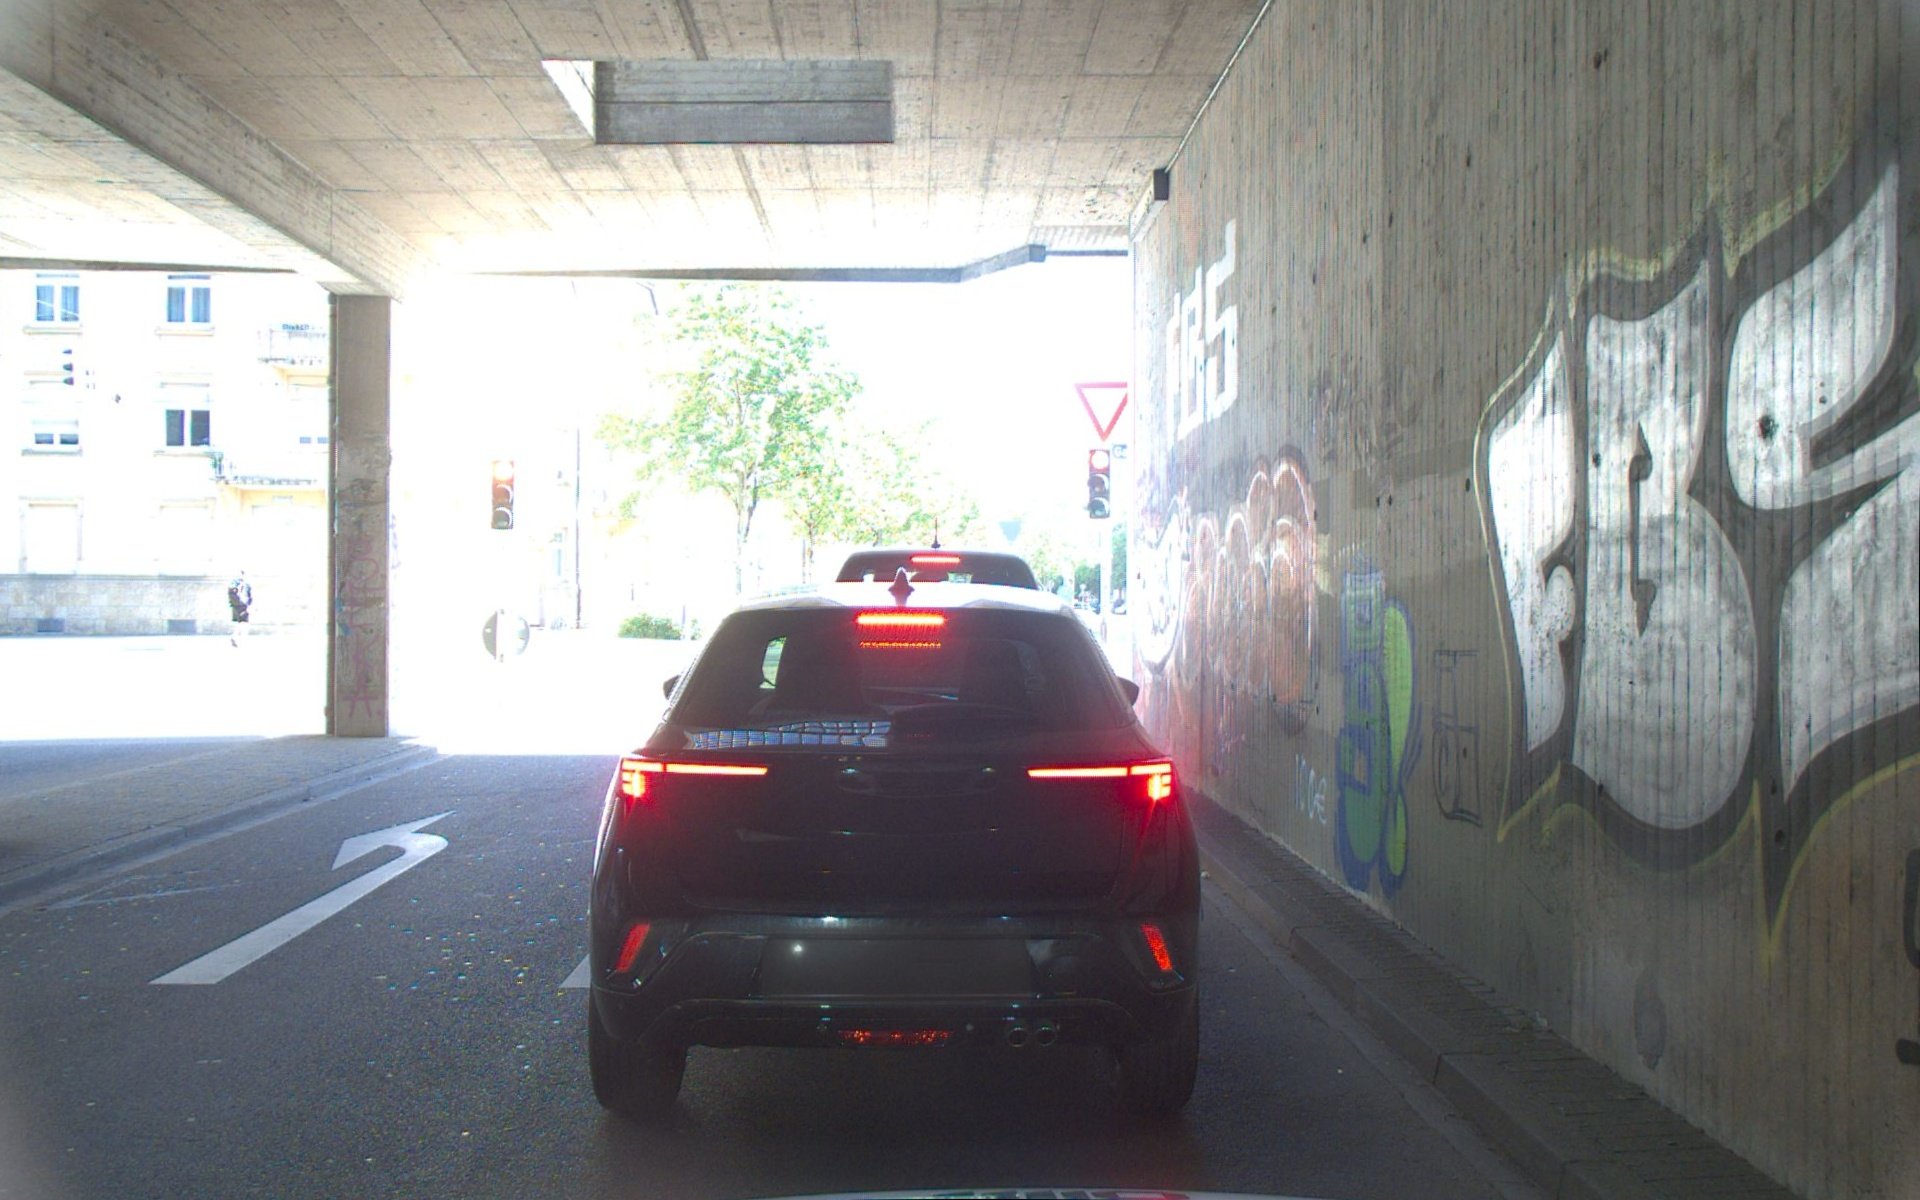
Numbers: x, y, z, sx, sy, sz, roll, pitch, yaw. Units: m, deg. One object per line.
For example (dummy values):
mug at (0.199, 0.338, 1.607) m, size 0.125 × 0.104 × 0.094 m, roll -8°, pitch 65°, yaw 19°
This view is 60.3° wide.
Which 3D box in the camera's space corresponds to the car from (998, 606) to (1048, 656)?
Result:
car at (2.692, 1.275, 70.009) m, size 1.951 × 2.004 × 4.166 m, roll 1°, pitch 0°, yaw 4°

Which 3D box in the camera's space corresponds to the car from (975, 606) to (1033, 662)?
car at (1.695, 1.257, 62.155) m, size 1.951 × 2.004 × 4.166 m, roll 1°, pitch 0°, yaw 4°

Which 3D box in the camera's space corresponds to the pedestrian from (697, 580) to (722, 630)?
pedestrian at (-10.893, 0.209, 71.888) m, size 0.873 × 2.124 × 0.808 m, roll 1°, pitch -1°, yaw 7°

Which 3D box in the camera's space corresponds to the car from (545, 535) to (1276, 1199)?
car at (-0.146, 0.612, 5.969) m, size 1.729 × 1.598 × 4.000 m, roll 1°, pitch 1°, yaw -1°

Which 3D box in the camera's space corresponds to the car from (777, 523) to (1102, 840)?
car at (-0.150, 0.477, 11.985) m, size 1.953 × 1.904 × 3.999 m, roll 0°, pitch 0°, yaw -1°

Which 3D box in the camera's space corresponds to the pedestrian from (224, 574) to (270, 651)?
pedestrian at (-15.673, 0.267, 36.347) m, size 0.658 × 1.666 × 0.740 m, roll 1°, pitch -1°, yaw -1°

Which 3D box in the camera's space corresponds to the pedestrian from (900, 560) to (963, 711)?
pedestrian at (-0.339, 0.419, 19.835) m, size 0.716 × 1.764 × 0.874 m, roll 1°, pitch -1°, yaw -1°
